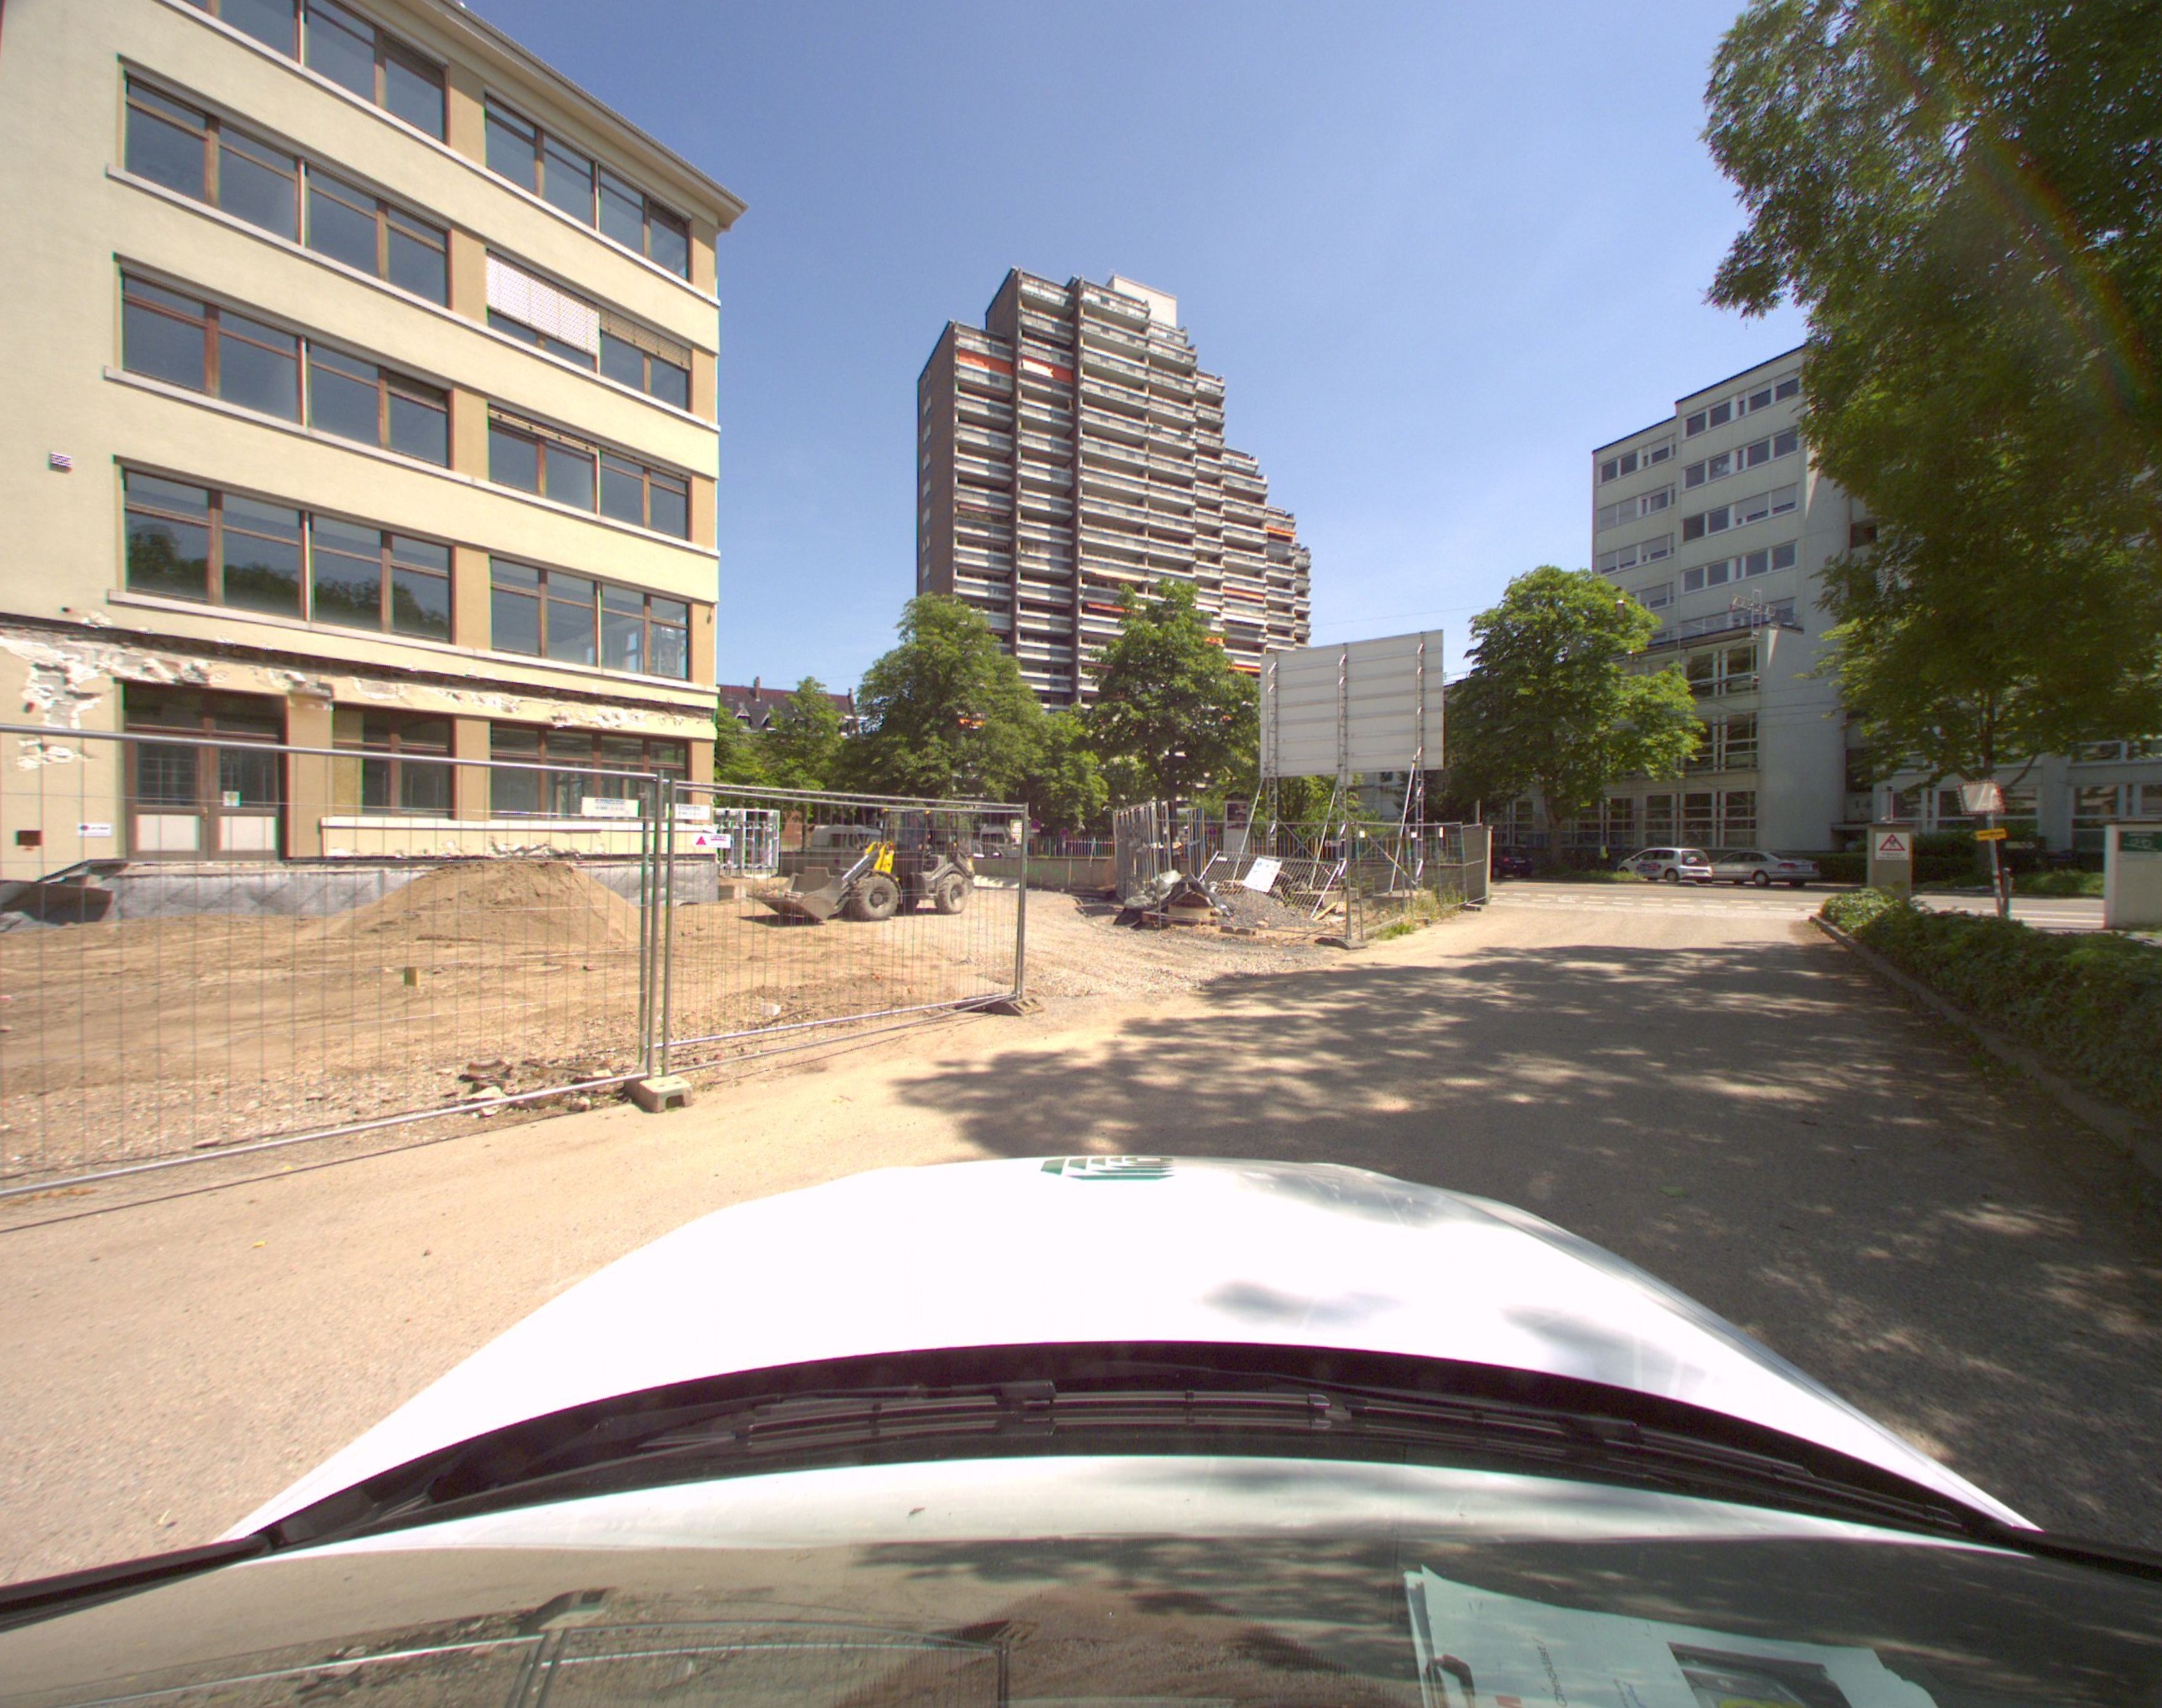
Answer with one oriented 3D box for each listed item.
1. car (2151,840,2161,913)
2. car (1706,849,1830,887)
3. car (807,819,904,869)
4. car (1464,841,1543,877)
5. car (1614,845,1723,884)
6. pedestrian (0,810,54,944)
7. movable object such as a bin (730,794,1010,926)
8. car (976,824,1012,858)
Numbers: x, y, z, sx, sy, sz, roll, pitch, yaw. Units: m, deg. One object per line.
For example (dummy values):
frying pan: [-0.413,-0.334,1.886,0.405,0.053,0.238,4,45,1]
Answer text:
car: [23.211,0.459,15.433,3.289,1.479,1.442,0,0,37]
car: [27.242,0.496,32.458,1.661,1.415,3.704,0,0,-5]
car: [-11.573,-0.487,41.565,5.175,2.416,2.013,0,0,37]
car: [19.791,0.209,38.319,2.001,1.629,3.937,0,0,6]
car: [24.864,0.403,34.622,1.663,1.589,3.681,0,0,-9]
pedestrian: [-15.291,0.314,11.412,0.905,1.846,0.992,0,0,31]
movable object such as a bin: [-4.488,0.119,17.901,5.448,2.464,2.340,1,0,-40]
car: [-6.040,-0.913,57.183,2.179,2.258,4.864,0,0,-3]
